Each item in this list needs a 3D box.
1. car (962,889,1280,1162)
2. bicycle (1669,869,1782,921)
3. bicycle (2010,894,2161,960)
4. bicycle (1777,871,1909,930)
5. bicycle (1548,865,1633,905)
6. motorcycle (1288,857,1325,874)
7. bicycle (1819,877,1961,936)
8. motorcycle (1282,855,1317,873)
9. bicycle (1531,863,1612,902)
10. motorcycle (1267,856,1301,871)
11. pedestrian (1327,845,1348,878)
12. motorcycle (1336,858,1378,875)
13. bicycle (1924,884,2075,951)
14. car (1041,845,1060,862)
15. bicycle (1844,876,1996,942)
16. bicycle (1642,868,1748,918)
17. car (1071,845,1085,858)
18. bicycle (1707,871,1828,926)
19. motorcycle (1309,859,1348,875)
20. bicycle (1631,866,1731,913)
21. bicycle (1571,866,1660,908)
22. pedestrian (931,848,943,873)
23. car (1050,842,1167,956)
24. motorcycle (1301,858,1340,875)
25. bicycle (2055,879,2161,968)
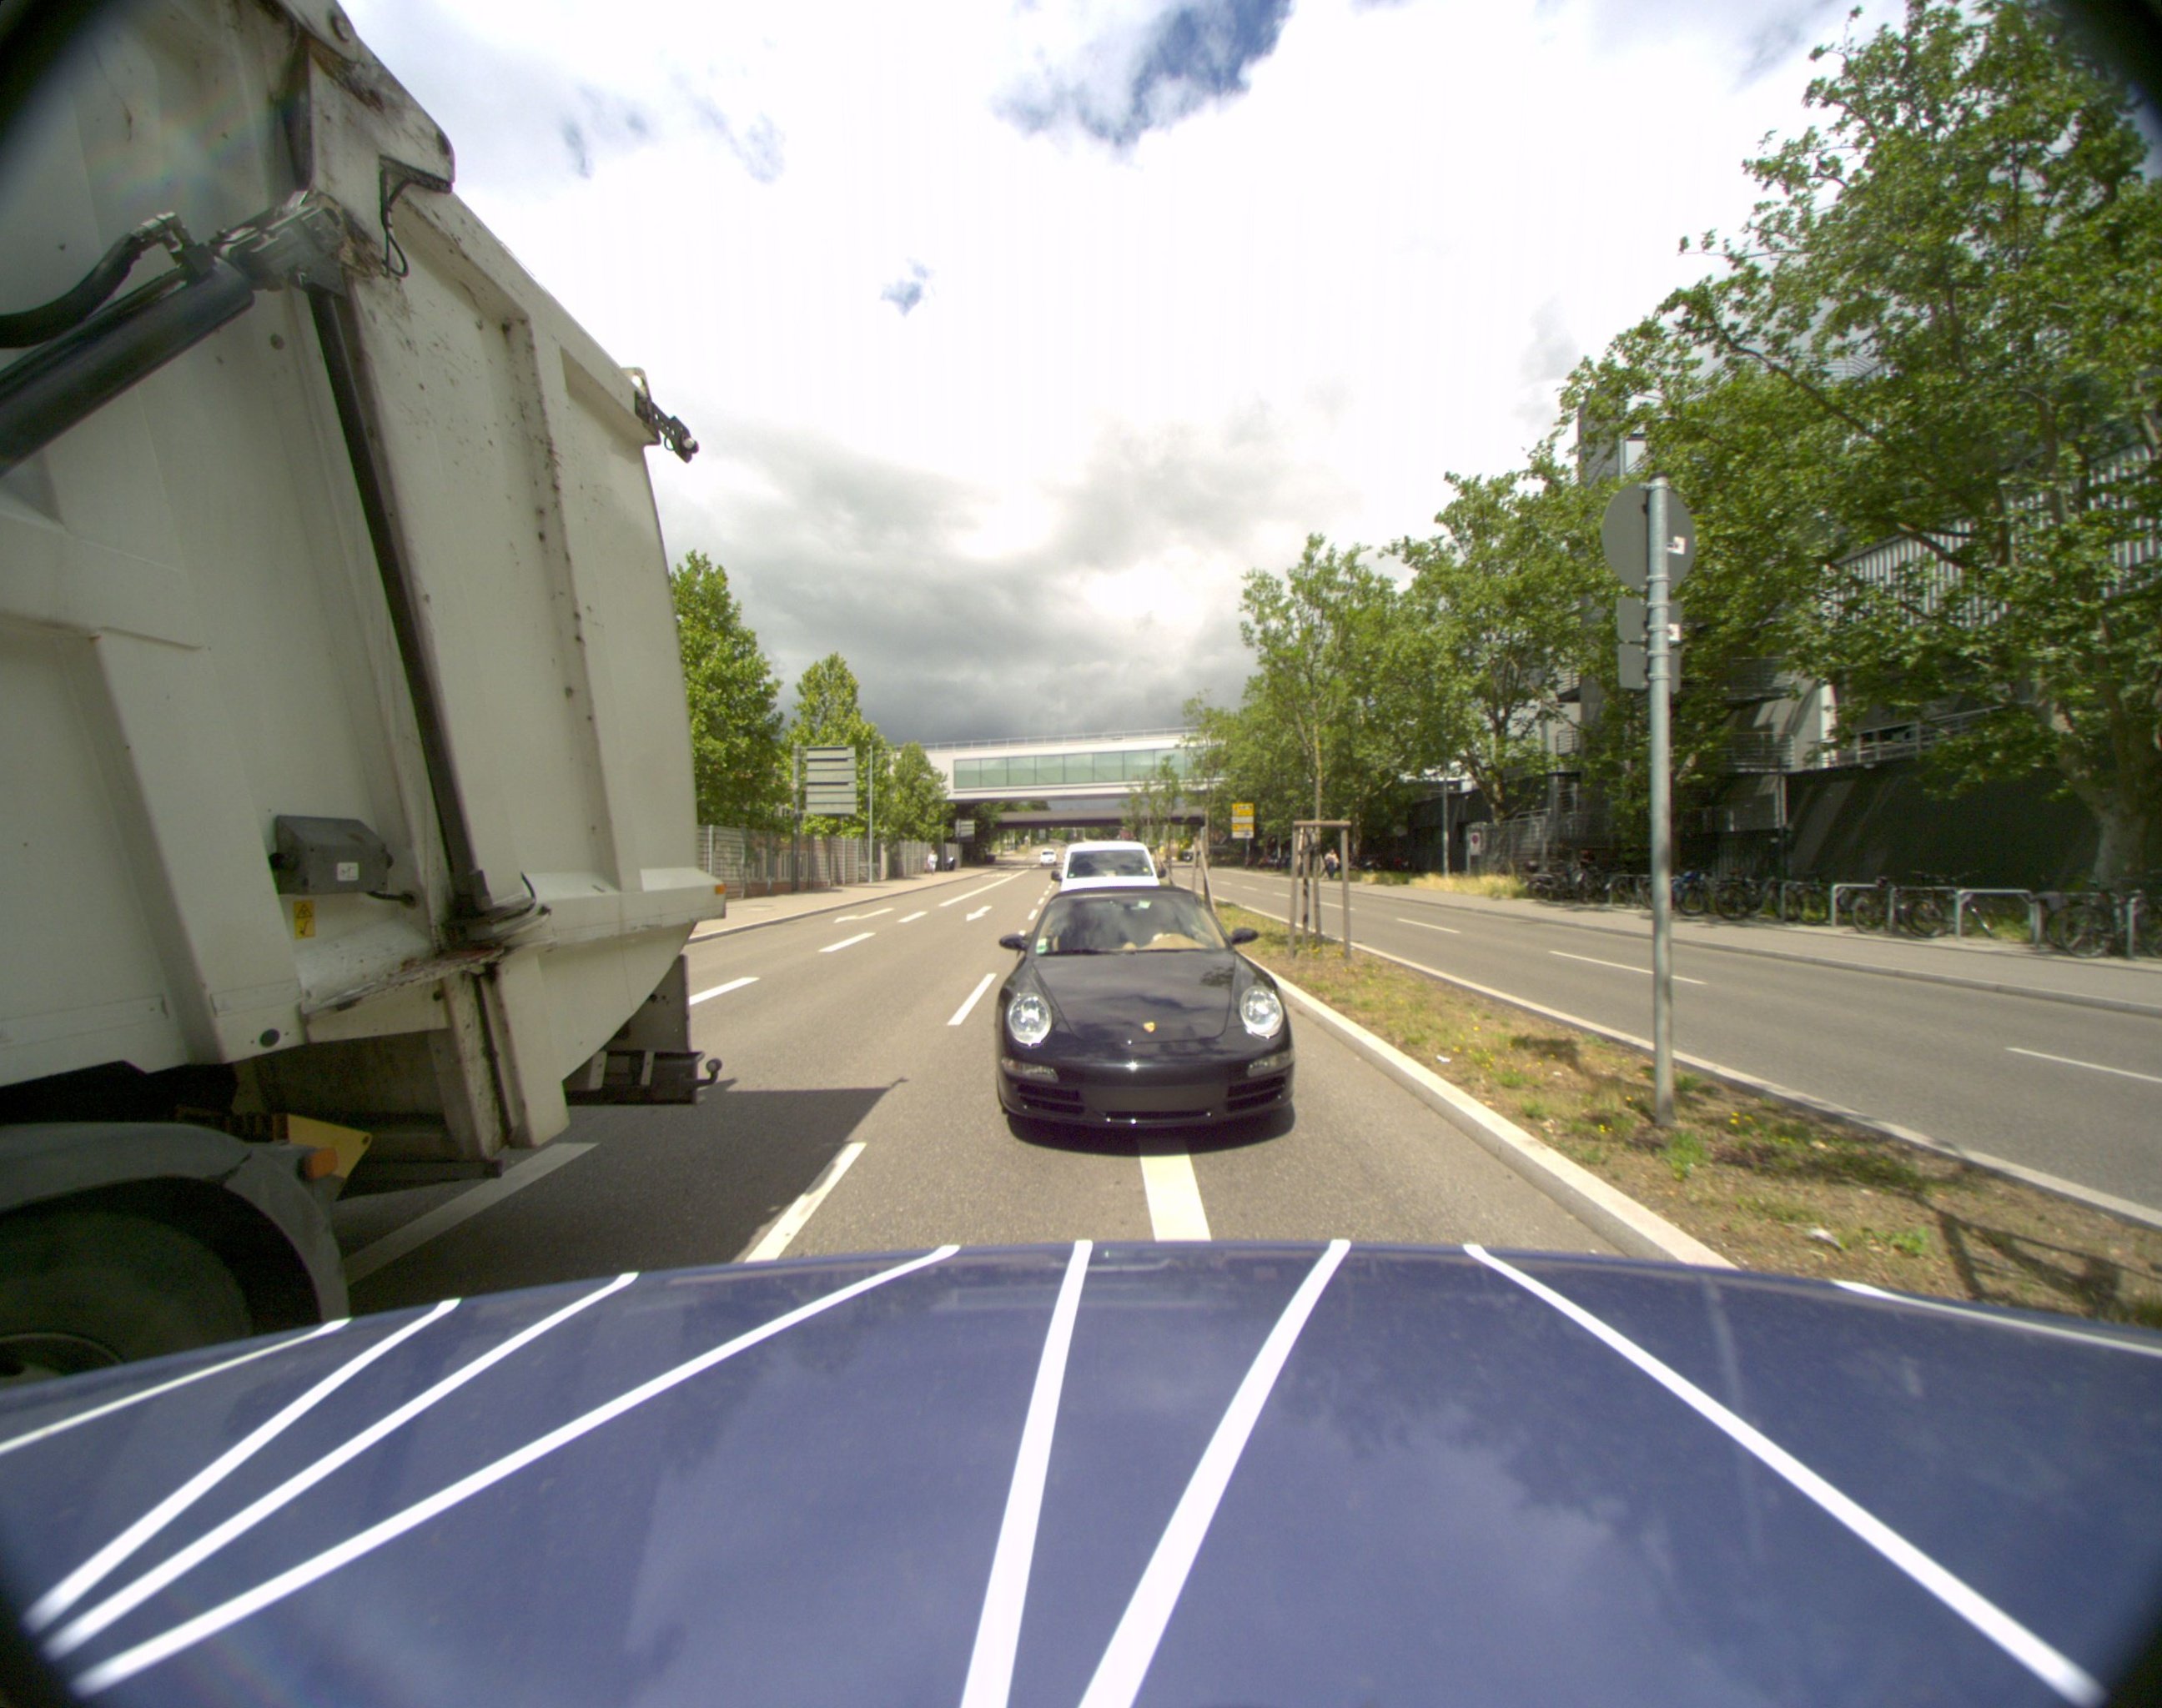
[{"bbox_3d":[0.243,1.027,6.059,1.710,1.280,3.806,-1,0,1],"label":"car"},{"bbox_3d":[14.476,0.926,17.082,2.129,1.104,0.382,-1,1,3],"label":"bicycle"},{"bbox_3d":[14.954,1.066,11.238,1.993,0.885,0.382,-1,1,-1],"label":"bicycle"},{"bbox_3d":[15.039,0.920,15.019,2.129,1.104,0.382,-1,1,3],"label":"bicycle"},{"bbox_3d":[14.750,0.895,22.019,2.129,1.104,0.382,-1,1,3],"label":"bicycle"},{"bbox_3d":[14.099,0.720,47.607,2.133,0.963,0.534,-1,0,1],"label":"motorcycle"},{"bbox_3d":[15.008,0.963,14.113,2.129,1.025,0.382,-1,1,3],"label":"bicycle"},{"bbox_3d":[14.105,0.654,49.074,2.133,1.131,0.534,-1,0,1],"label":"motorcycle"},{"bbox_3d":[14.745,0.858,22.860,2.129,1.104,0.382,-1,1,3],"label":"bicycle"},{"bbox_3d":[13.864,0.636,51.832,2.133,0.963,0.534,-1,0,1],"label":"motorcycle"},{"bbox_3d":[13.438,0.406,39.830,0.900,1.710,0.672,-1,1,1],"label":"pedestrian"},{"bbox_3d":[15.395,0.672,42.411,2.133,0.893,0.534,-1,0,1],"label":"motorcycle"},{"bbox_3d":[14.750,1.008,12.218,1.993,0.992,0.382,-1,1,-1],"label":"bicycle"},{"bbox_3d":[-3.716,-0.052,93.587,1.925,2.082,4.657,-1,0,2],"label":"car"},{"bbox_3d":[14.575,0.951,13.219,2.129,1.089,0.382,-1,1,3],"label":"bicycle"},{"bbox_3d":[14.502,0.917,17.969,2.129,1.104,0.382,-1,1,3],"label":"bicycle"},{"bbox_3d":[-0.474,-0.320,109.178,1.862,1.800,4.357,-3,0,1],"label":"car"},{"bbox_3d":[14.498,0.937,16.058,2.129,1.104,0.382,-1,1,3],"label":"bicycle"},{"bbox_3d":[14.587,0.758,44.848,2.133,0.880,0.534,-1,0,1],"label":"motorcycle"},{"bbox_3d":[15.062,0.888,19.084,2.129,1.104,0.382,-1,1,3],"label":"bicycle"},{"bbox_3d":[14.819,0.908,21.096,2.129,1.104,0.382,-1,1,3],"label":"bicycle"},{"bbox_3d":[-11.246,0.483,59.245,0.739,1.901,0.658,-2,1,-1],"label":"pedestrian"},{"bbox_3d":[0.477,0.728,14.828,1.862,1.800,4.906,-1,0,1],"label":"car"},{"bbox_3d":[14.413,0.771,45.717,2.133,0.963,0.534,-1,0,1],"label":"motorcycle"},{"bbox_3d":[14.351,0.922,10.235,1.993,1.121,0.382,-1,1,-1],"label":"bicycle"}]
